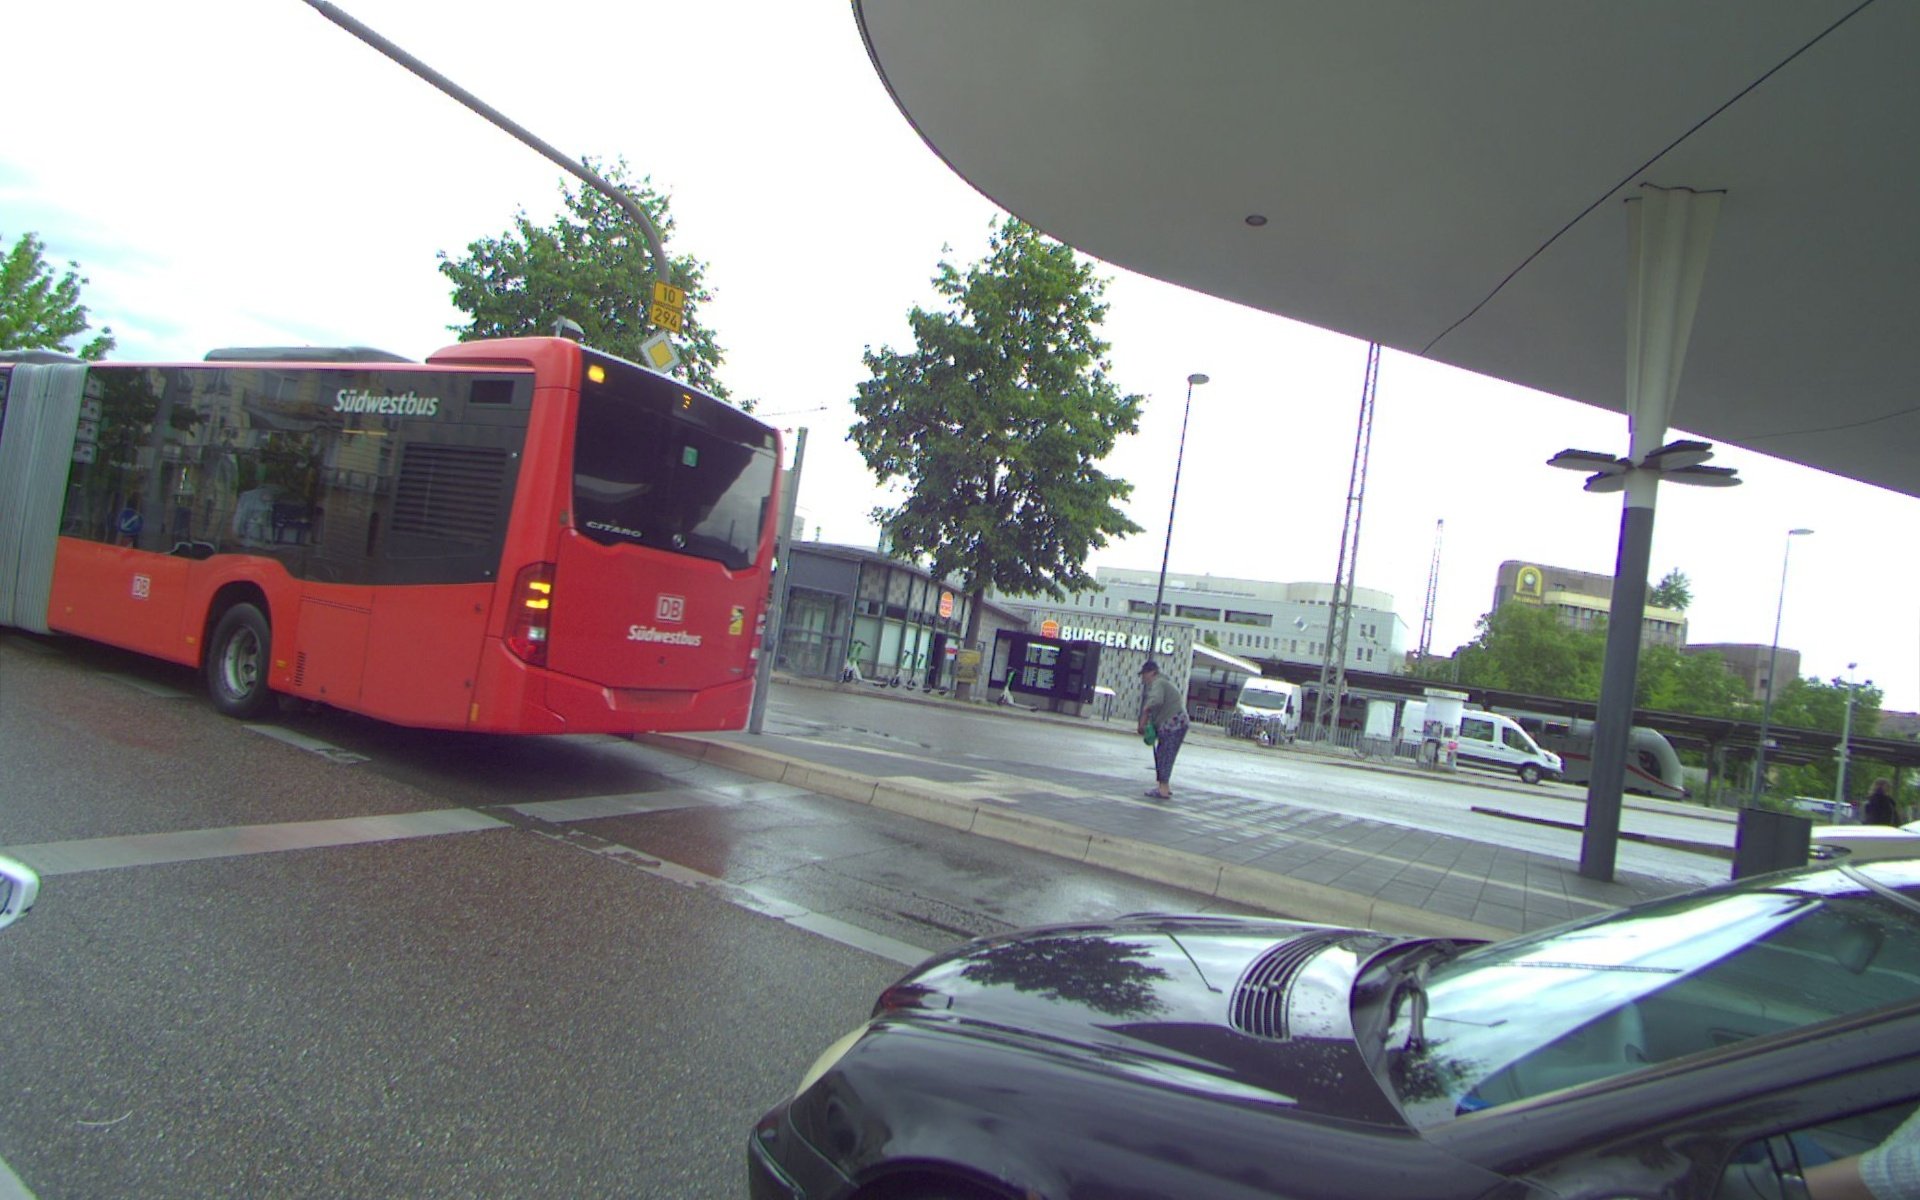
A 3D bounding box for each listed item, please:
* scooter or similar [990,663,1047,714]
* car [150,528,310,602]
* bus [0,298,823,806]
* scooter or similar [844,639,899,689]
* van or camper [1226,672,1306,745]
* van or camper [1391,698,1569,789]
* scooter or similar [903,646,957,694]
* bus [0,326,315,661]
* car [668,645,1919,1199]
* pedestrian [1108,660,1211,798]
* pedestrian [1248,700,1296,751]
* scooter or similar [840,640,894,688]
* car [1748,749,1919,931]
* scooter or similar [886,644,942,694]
[{"bbox_3d":[1.731,2.603,29.764,1.503,1.284,0.467,8,-1,-4],"label":"scooter or similar"},{"bbox_3d":[-20.612,-0.994,28.376,4.588,1.468,1.851,7,-2,30],"label":"car"},{"bbox_3d":[-5.515,-0.582,9.412,7.979,3.210,2.751,7,-2,28],"label":"bus"},{"bbox_3d":[-2.442,1.764,27.751,1.309,1.167,0.465,9,-2,-21],"label":"scooter or similar"},{"bbox_3d":[12.560,4.422,41.000,2.072,2.491,5.975,7,-3,25],"label":"van or camper"},{"bbox_3d":[20.358,5.558,39.529,5.873,2.491,2.108,7,-2,32],"label":"van or camper"},{"bbox_3d":[-0.930,2.170,31.162,1.503,1.284,0.467,8,-1,-4],"label":"scooter or similar"},{"bbox_3d":[-13.184,-1.508,13.478,10.017,3.210,2.751,7,-2,28],"label":"bus"},{"bbox_3d":[1.773,1.139,1.484,4.363,1.493,1.753,5,-8,33],"label":"car"},{"bbox_3d":[2.218,1.423,11.154,0.753,1.374,0.738,7,-3,31],"label":"pedestrian"},{"bbox_3d":[10.774,4.337,34.794,0.910,1.552,1.096,9,-2,-36],"label":"pedestrian"},{"bbox_3d":[-2.611,1.814,28.409,1.313,1.157,0.464,9,-2,-31],"label":"scooter or similar"},{"bbox_3d":[11.249,2.796,10.552,4.360,1.665,1.807,7,-5,32],"label":"car"},{"bbox_3d":[-1.393,2.071,30.337,1.503,1.284,0.467,8,-1,-4],"label":"scooter or similar"}]
